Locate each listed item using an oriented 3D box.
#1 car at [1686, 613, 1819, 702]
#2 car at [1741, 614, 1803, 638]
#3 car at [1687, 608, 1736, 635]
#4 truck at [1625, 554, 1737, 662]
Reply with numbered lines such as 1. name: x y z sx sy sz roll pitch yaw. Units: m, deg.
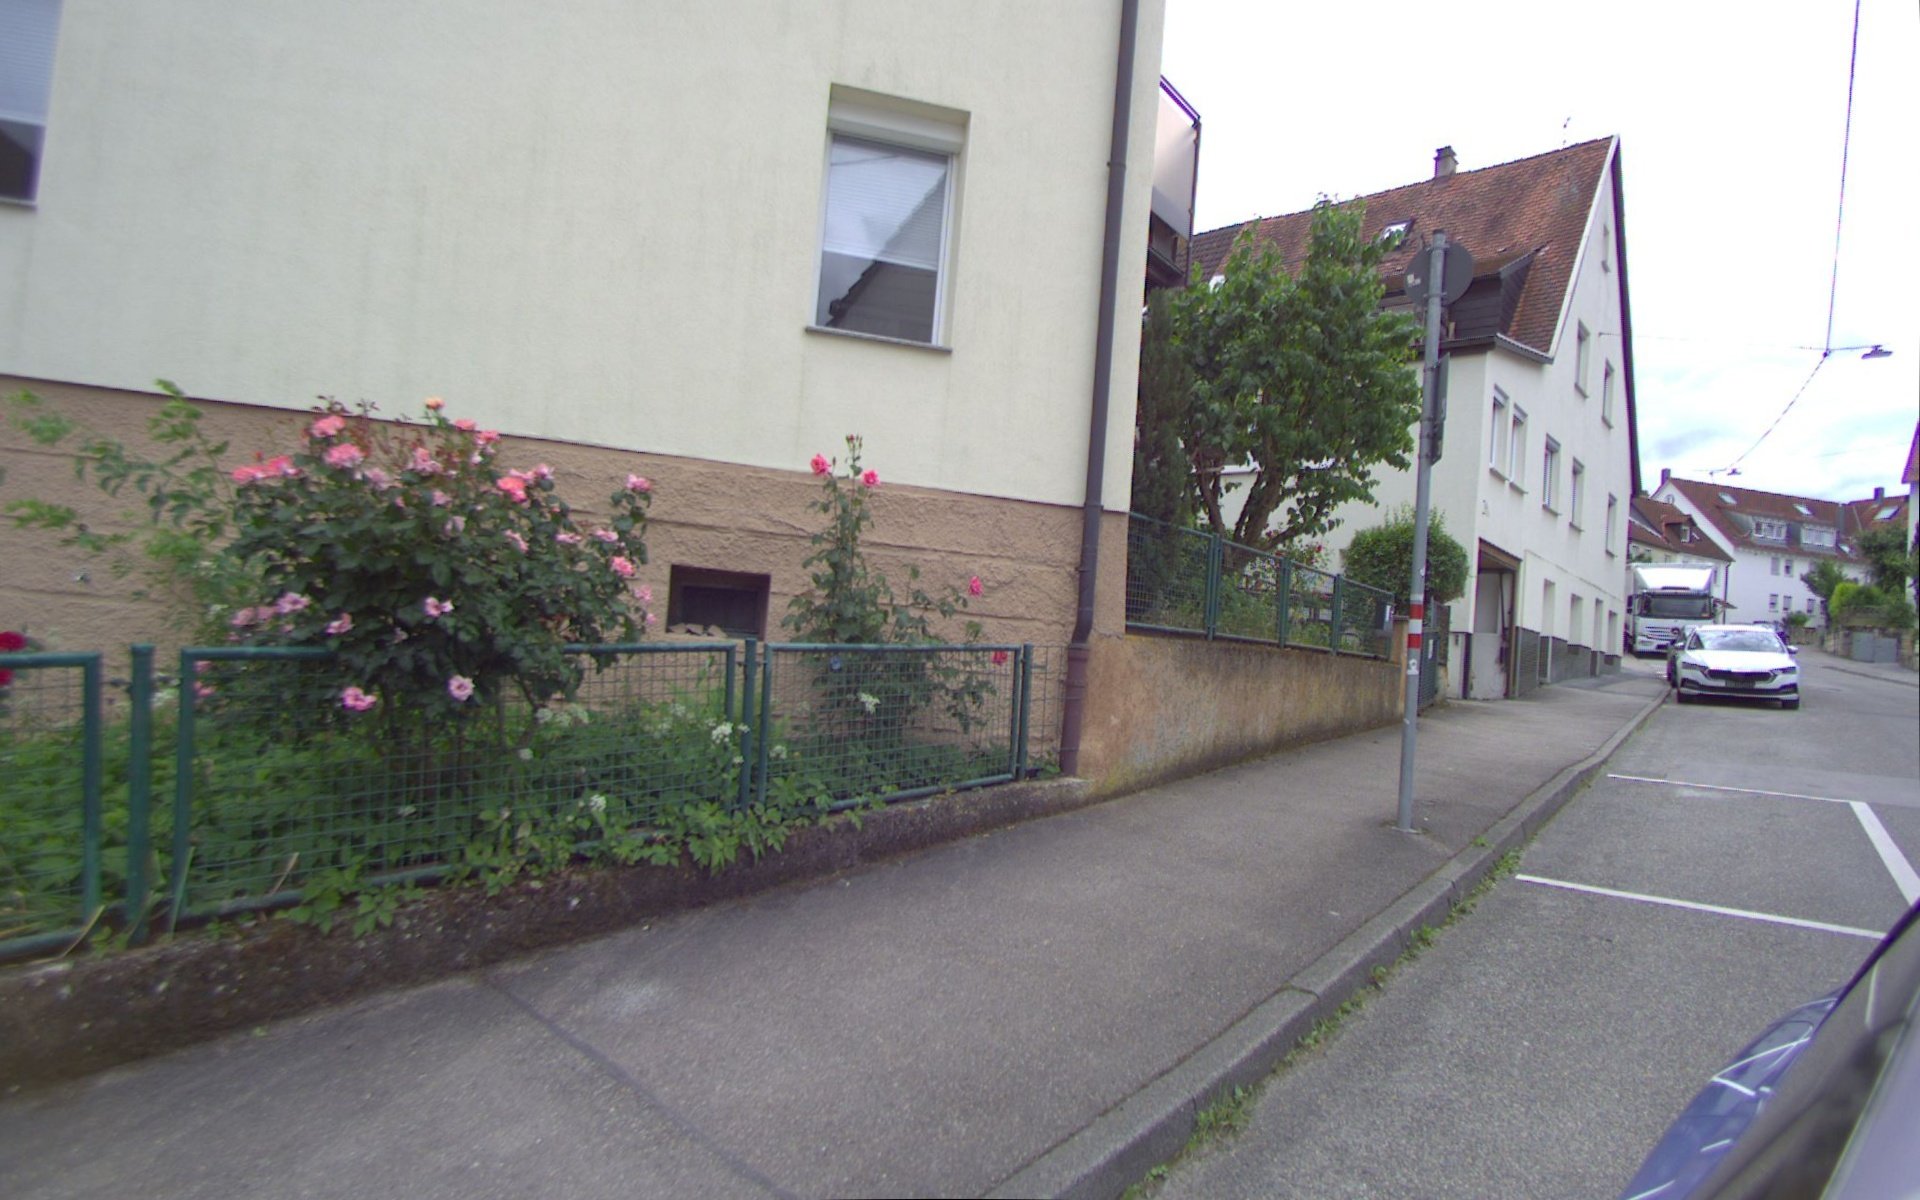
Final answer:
1. car: 14.930 1.009 19.255 1.789 1.464 4.241 0 -1 36
2. car: 52.999 1.715 66.066 3.920 1.425 1.725 4 -3 -27
3. car: 46.295 1.345 62.344 2.842 1.552 1.615 3 -4 -36
4. truck: 27.567 0.334 39.031 2.663 3.642 8.016 3 0 30
